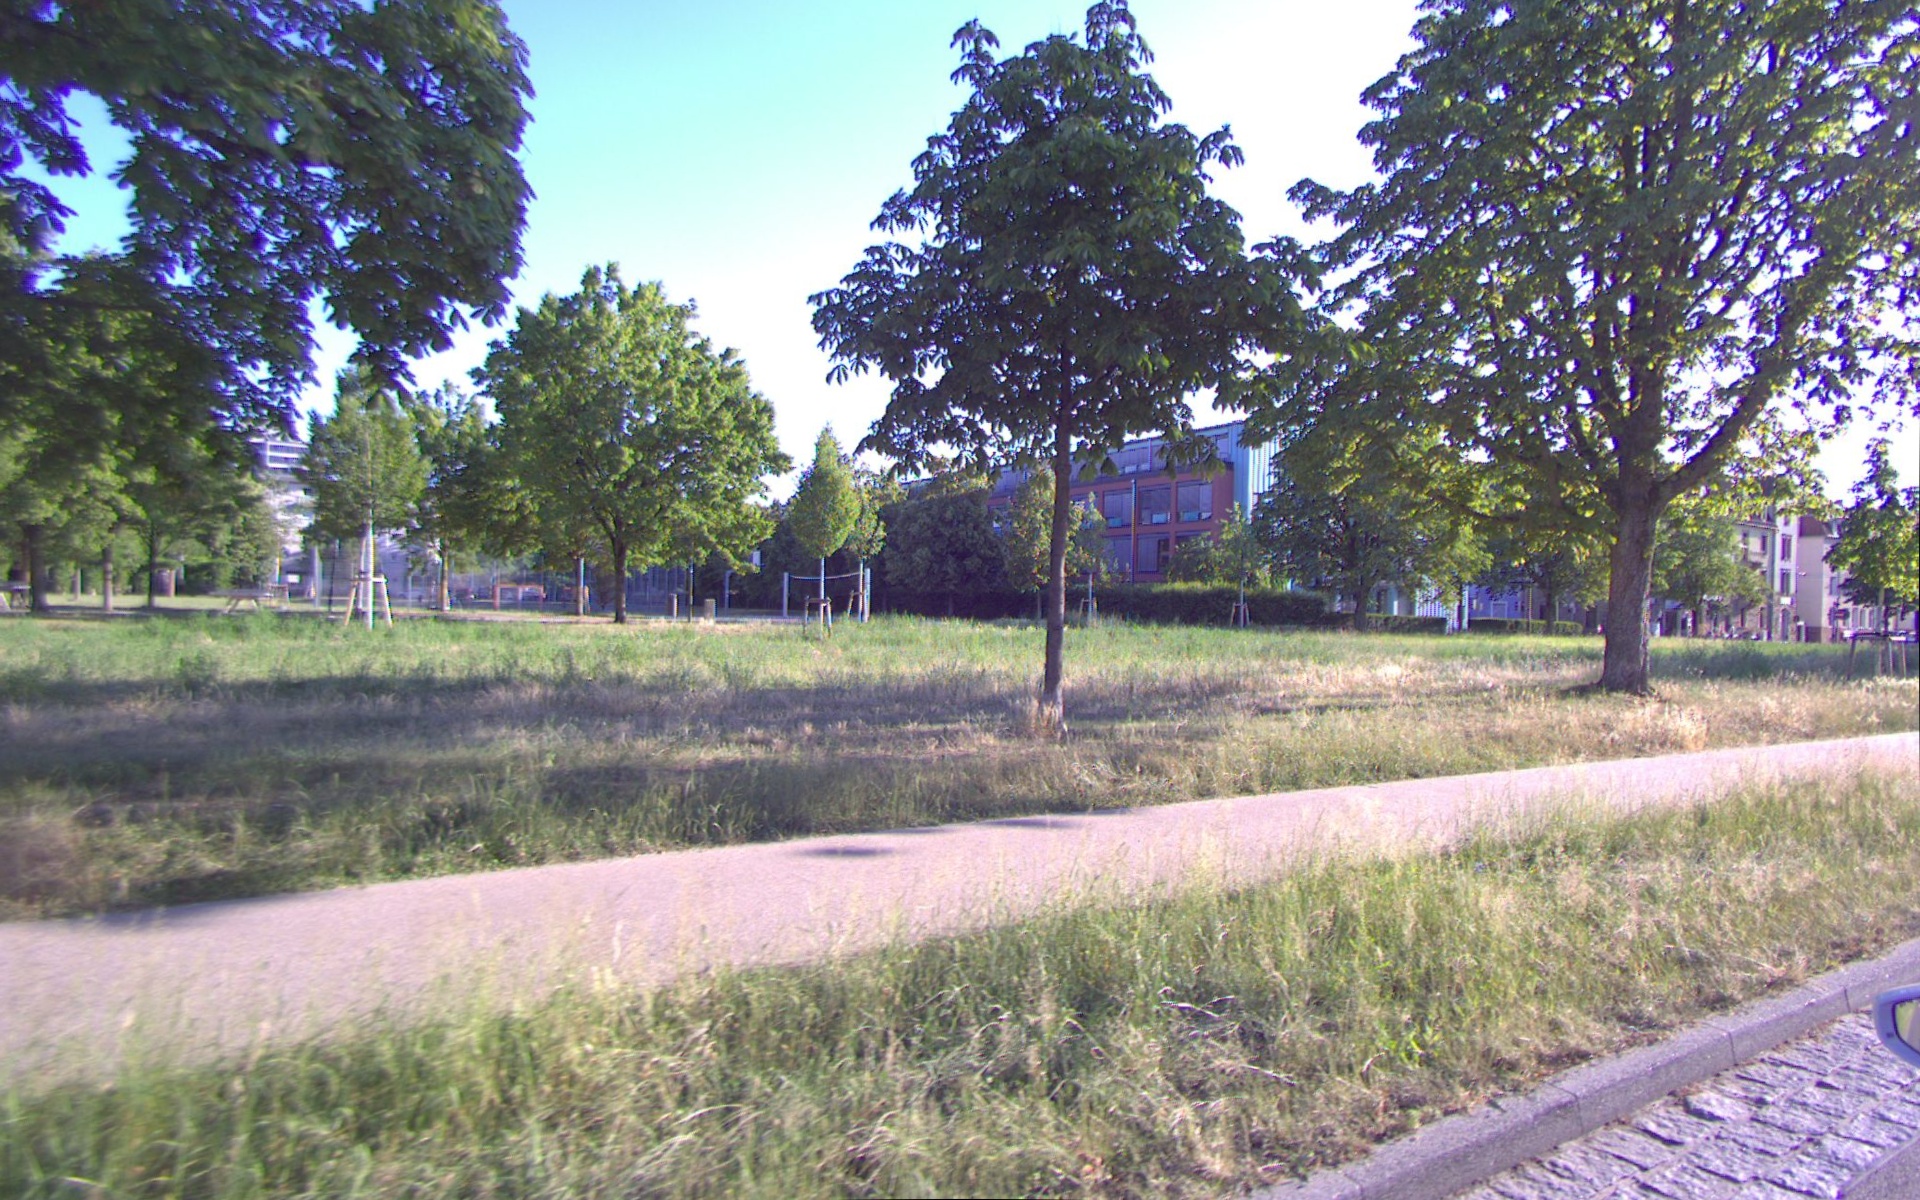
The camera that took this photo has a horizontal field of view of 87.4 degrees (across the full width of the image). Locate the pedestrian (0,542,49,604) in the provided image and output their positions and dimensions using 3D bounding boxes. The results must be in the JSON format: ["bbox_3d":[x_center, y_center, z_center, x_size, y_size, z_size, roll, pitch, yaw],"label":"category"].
[{"bbox_3d":[-29.813,-0.849,31.902,0.970,1.888,1.110,2,1,-23],"label":"pedestrian"}]

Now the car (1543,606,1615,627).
[{"bbox_3d":[51.176,1.325,83.158,1.800,1.453,4.726,4,-1,-39],"label":"car"}]
